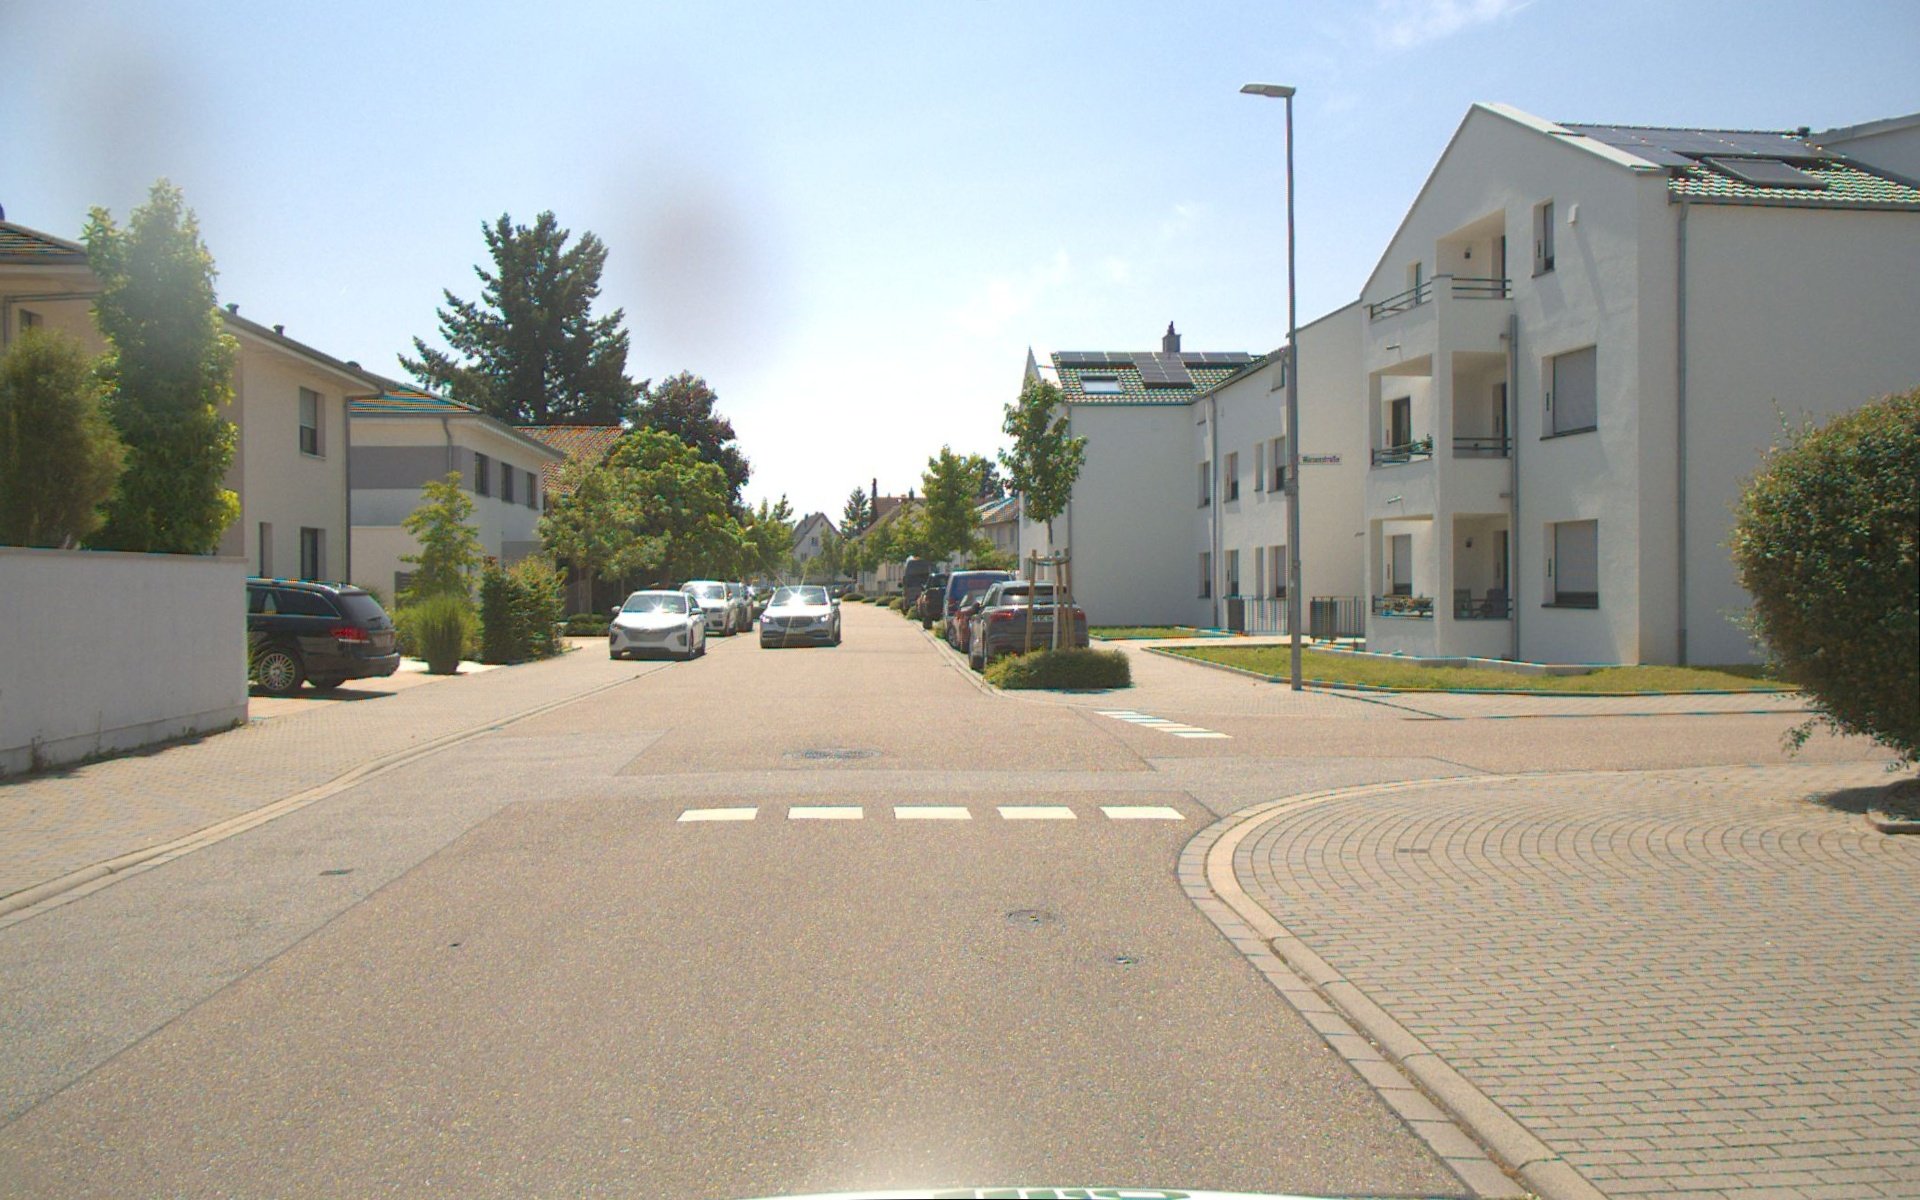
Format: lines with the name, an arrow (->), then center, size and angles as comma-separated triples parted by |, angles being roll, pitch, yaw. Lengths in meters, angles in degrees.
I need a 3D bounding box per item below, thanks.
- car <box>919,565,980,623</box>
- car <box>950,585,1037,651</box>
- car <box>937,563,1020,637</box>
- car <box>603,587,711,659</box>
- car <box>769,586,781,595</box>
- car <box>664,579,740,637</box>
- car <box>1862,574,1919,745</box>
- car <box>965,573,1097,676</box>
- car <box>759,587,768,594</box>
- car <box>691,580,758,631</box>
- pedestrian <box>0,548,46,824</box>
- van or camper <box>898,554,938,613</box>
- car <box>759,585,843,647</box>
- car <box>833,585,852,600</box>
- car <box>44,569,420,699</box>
car -> -0.416, -0.239, 60.166 | 1.954, 1.981, 5.212 | -2, 1, -3
car -> 0.746, 0.382, 39.330 | 1.647, 1.467, 4.022 | 0, 1, -5
car -> 0.448, -0.024, 45.936 | 2.057, 1.915, 4.841 | -1, 1, -2
car -> -6.746, 0.466, 37.276 | 1.815, 1.514, 4.383 | 0, 1, -3
car -> -26.691, -1.441, 238.460 | 1.632, 1.272, 3.924 | -1, 0, -8
car -> -8.105, 0.215, 52.326 | 1.889, 1.716, 4.496 | 0, 1, -3
car -> 10.356, 0.499, 14.619 | 3.915, 1.493, 1.754 | -1, 1, -7
car -> 1.173, 0.370, 29.250 | 1.739, 1.623, 4.274 | -2, 1, -5
car -> -29.378, -1.450, 247.345 | 1.167, 1.089, 3.044 | -1, 0, -12
car -> -8.324, 0.167, 58.745 | 1.954, 1.709, 4.212 | 0, 1, -3
pedestrian -> -6.531, 0.554, 10.704 | 0.700, 1.777, 0.960 | 0, 0, -3
van or camper -> -2.169, -0.836, 84.955 | 1.954, 2.993, 3.997 | 0, 0, -3
car -> -4.072, 0.375, 42.903 | 1.815, 1.504, 4.699 | 0, 1, -1
car -> -12.706, -0.805, 178.822 | 1.954, 1.601, 3.998 | -1, 0, -3
car -> -10.013, 0.446, 22.982 | 4.338, 1.499, 1.851 | 3, 0, 1
